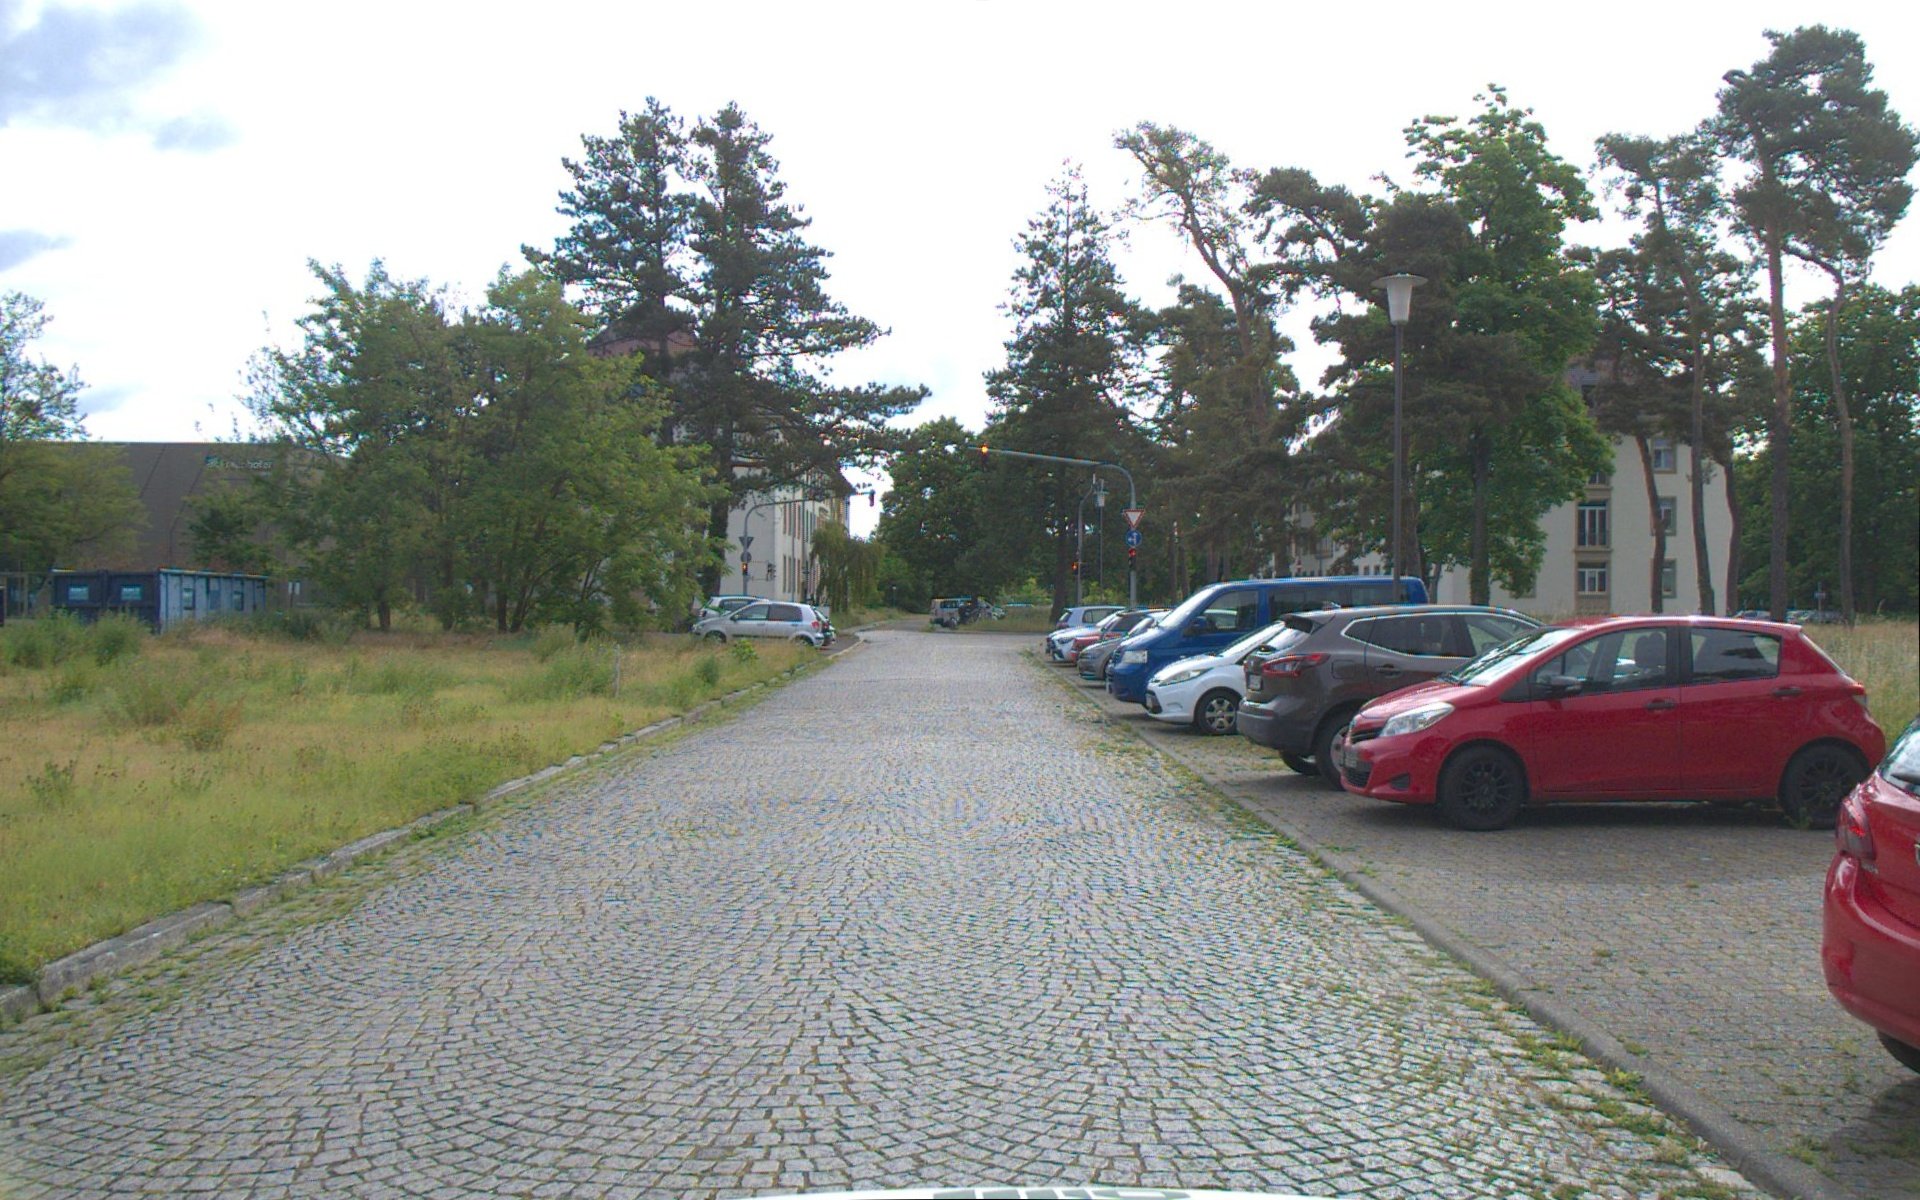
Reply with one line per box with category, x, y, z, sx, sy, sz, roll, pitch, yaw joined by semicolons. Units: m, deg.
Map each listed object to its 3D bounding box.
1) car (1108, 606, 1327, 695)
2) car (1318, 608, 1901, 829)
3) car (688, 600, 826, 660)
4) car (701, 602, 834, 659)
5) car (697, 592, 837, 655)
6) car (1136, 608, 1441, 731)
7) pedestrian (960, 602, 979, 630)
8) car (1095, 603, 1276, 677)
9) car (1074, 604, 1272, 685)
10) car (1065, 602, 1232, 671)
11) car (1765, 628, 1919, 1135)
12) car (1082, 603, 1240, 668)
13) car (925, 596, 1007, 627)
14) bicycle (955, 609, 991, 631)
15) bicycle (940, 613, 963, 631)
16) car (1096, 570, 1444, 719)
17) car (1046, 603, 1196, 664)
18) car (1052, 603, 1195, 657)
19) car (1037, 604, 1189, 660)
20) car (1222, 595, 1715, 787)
car;4.532;0.872;29.408;3.598;1.475;1.523;-1;-1;-2
car;4.764;0.838;12.522;3.715;1.486;1.751;-1;-1;-1
car;-5.710;0.842;46.756;3.746;1.600;1.563;-1;-1;-4
car;-5.685;0.890;49.173;3.744;1.600;1.564;-1;-1;-1
car;-6.047;0.734;52.158;4.176;1.873;1.743;-1;-1;-1
car;4.210;0.871;21.535;3.598;1.475;1.614;-1;-1;-3
pedestrian;0.559;0.950;97.155;1.013;1.642;0.757;1;-1;-5
car;4.765;0.843;35.178;3.598;1.475;1.523;-1;-1;-2
car;4.098;0.846;32.184;3.598;1.475;1.523;-1;-1;-2
car;4.277;0.828;37.879;3.598;1.475;1.523;-1;-1;-2
car;4.710;0.811;4.923;3.748;1.486;1.779;-1;-1;-1
car;4.839;0.843;40.169;3.598;1.475;1.523;-1;-1;-2
car;0.413;0.798;114.721;5.346;2.049;2.263;1;0;-10
bicycle;0.755;1.161;96.812;2.095;1.236;0.621;1;-1;-5
bicycle;-0.498;1.223;92.731;0.613;0.961;1.648;1;0;-28
car;4.433;0.624;24.131;4.659;1.989;1.930;-1;-1;-2
car;4.096;0.846;42.415;3.600;1.446;1.522;-1;-1;-5
car;4.702;0.854;47.926;3.890;1.446;1.618;-1;-1;-5
car;4.161;0.861;45.271;3.890;1.446;1.618;-1;-1;-5
car;4.549;0.785;15.162;3.948;1.580;1.750;-1;-1;-3
